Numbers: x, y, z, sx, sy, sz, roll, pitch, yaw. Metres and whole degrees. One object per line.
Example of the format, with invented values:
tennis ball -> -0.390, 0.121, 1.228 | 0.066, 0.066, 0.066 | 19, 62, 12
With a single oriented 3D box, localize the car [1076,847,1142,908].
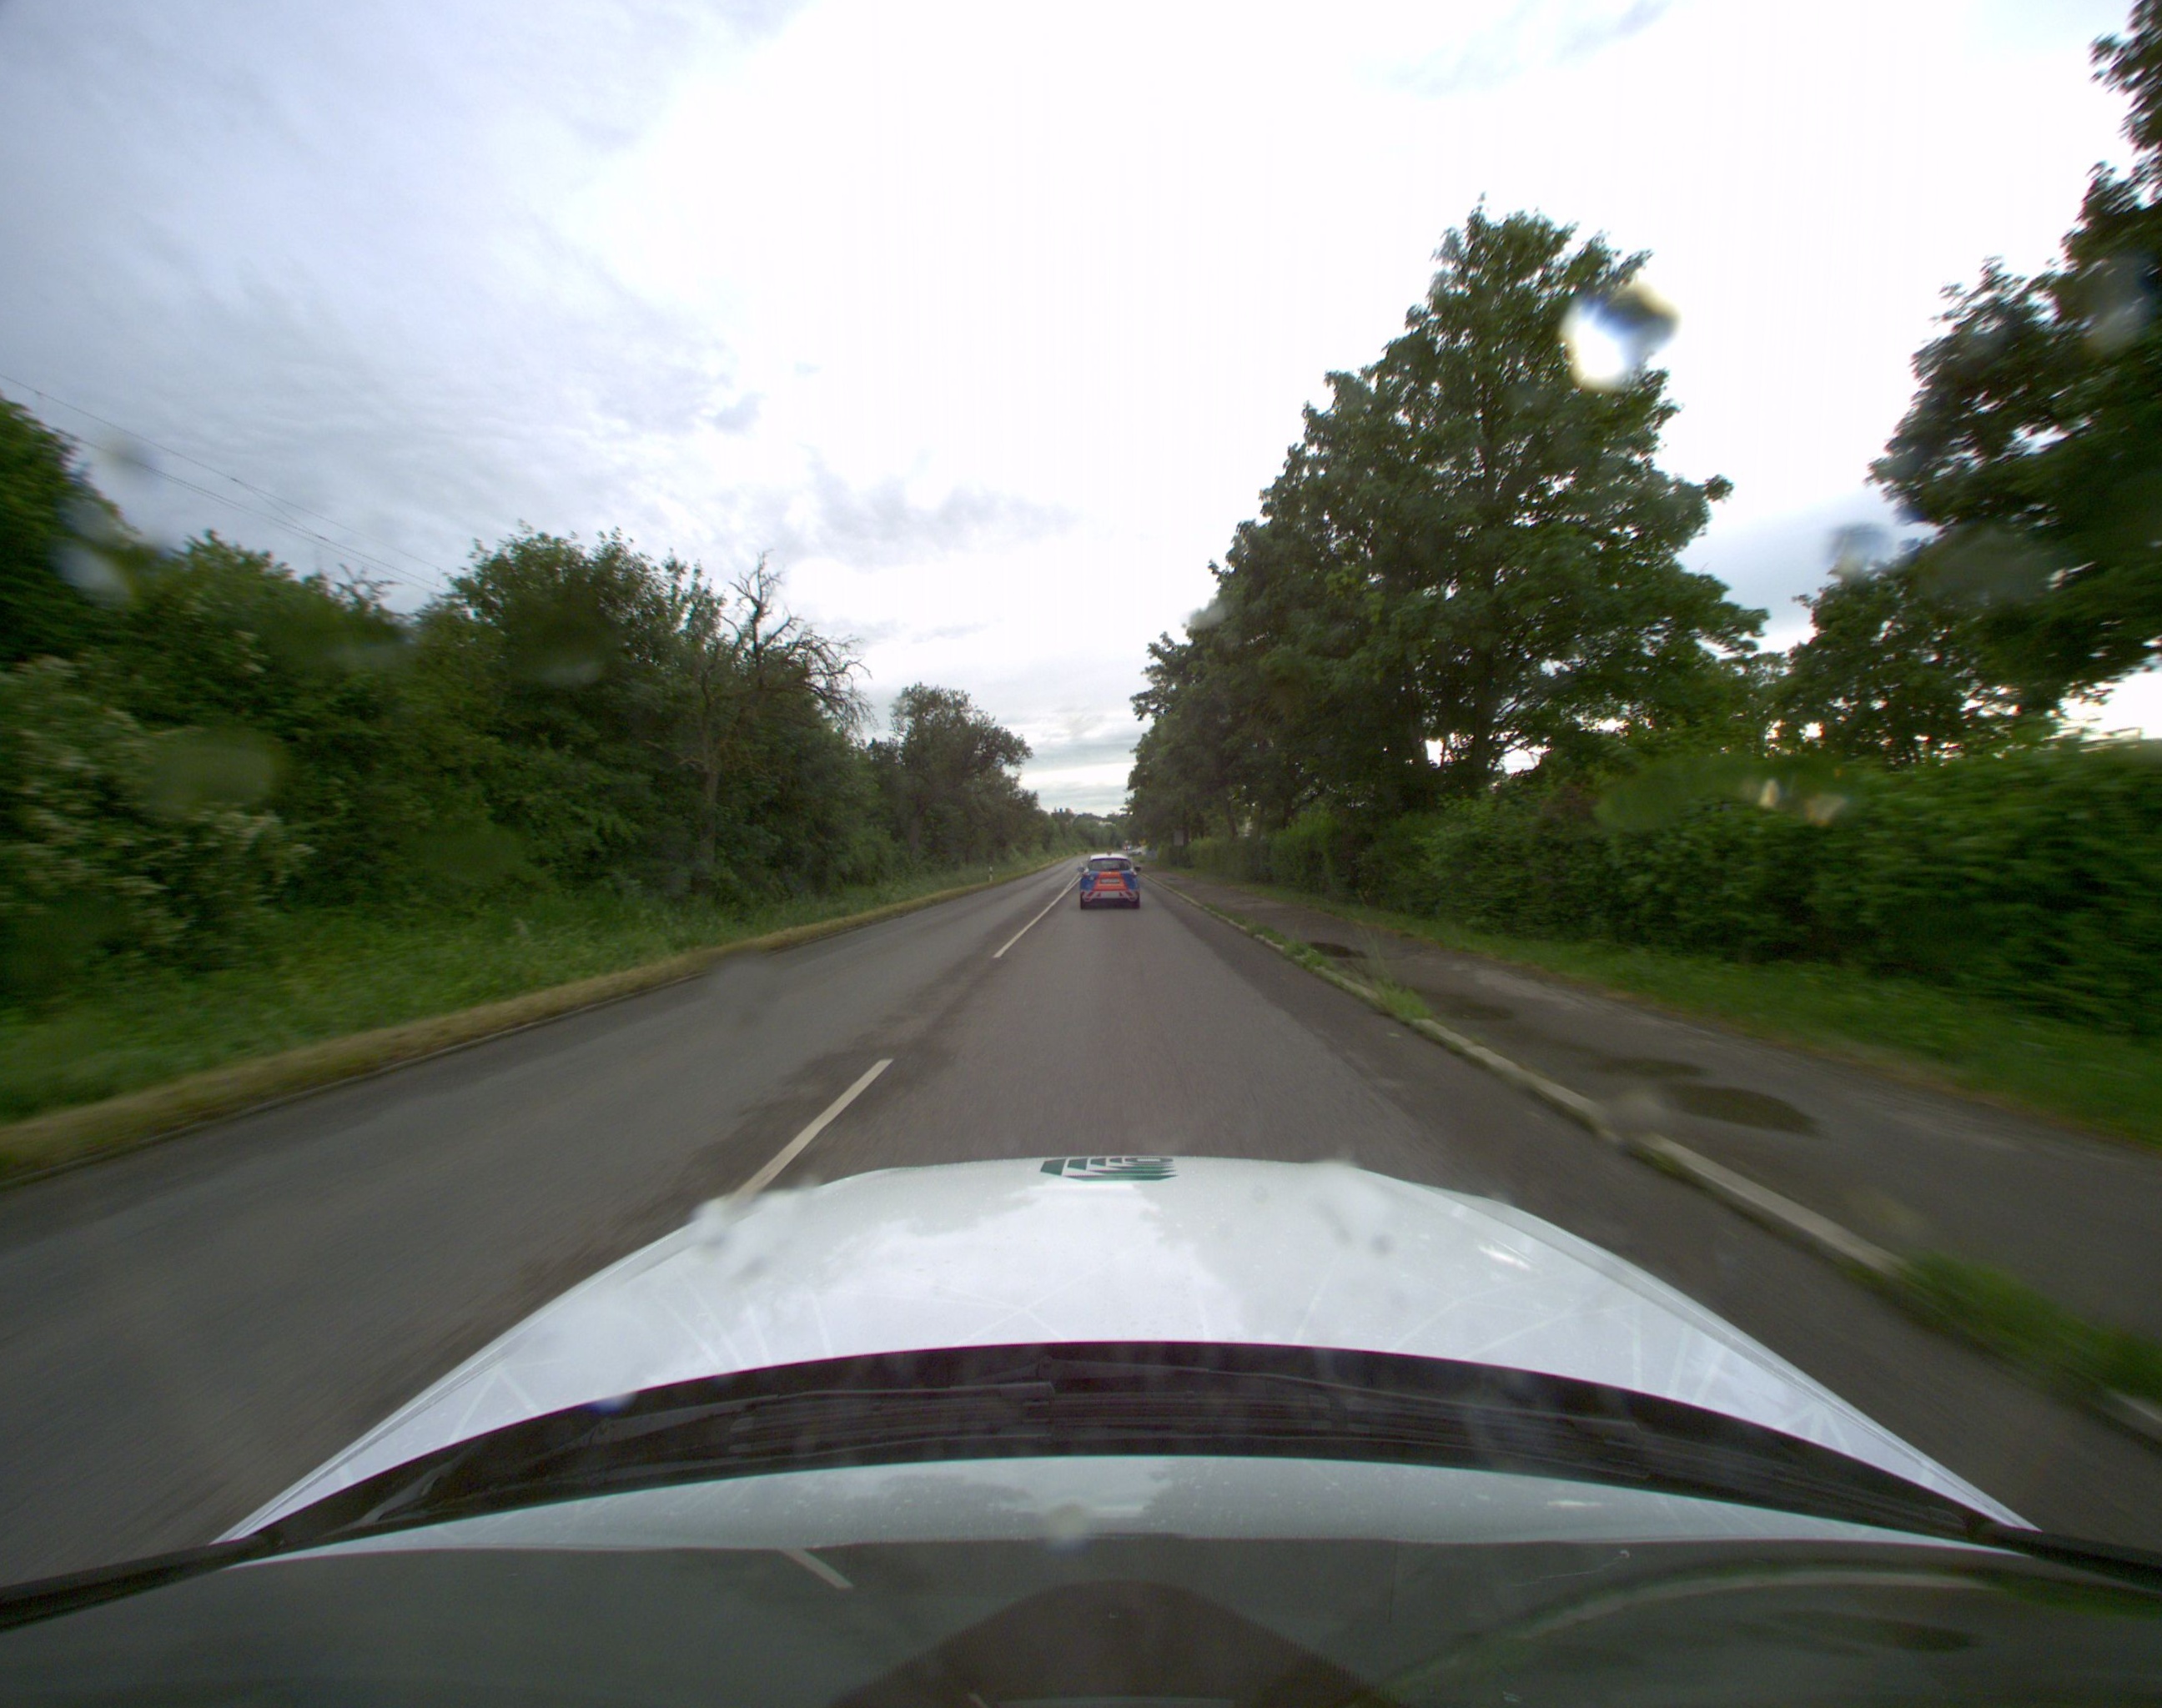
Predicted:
car -> 0.829, 0.651, 24.412 | 1.799, 1.668, 3.857 | 0, 0, 1

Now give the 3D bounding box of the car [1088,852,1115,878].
car -> 1.310, 0.692, 52.712 | 1.688, 1.595, 3.856 | 0, 0, 1
